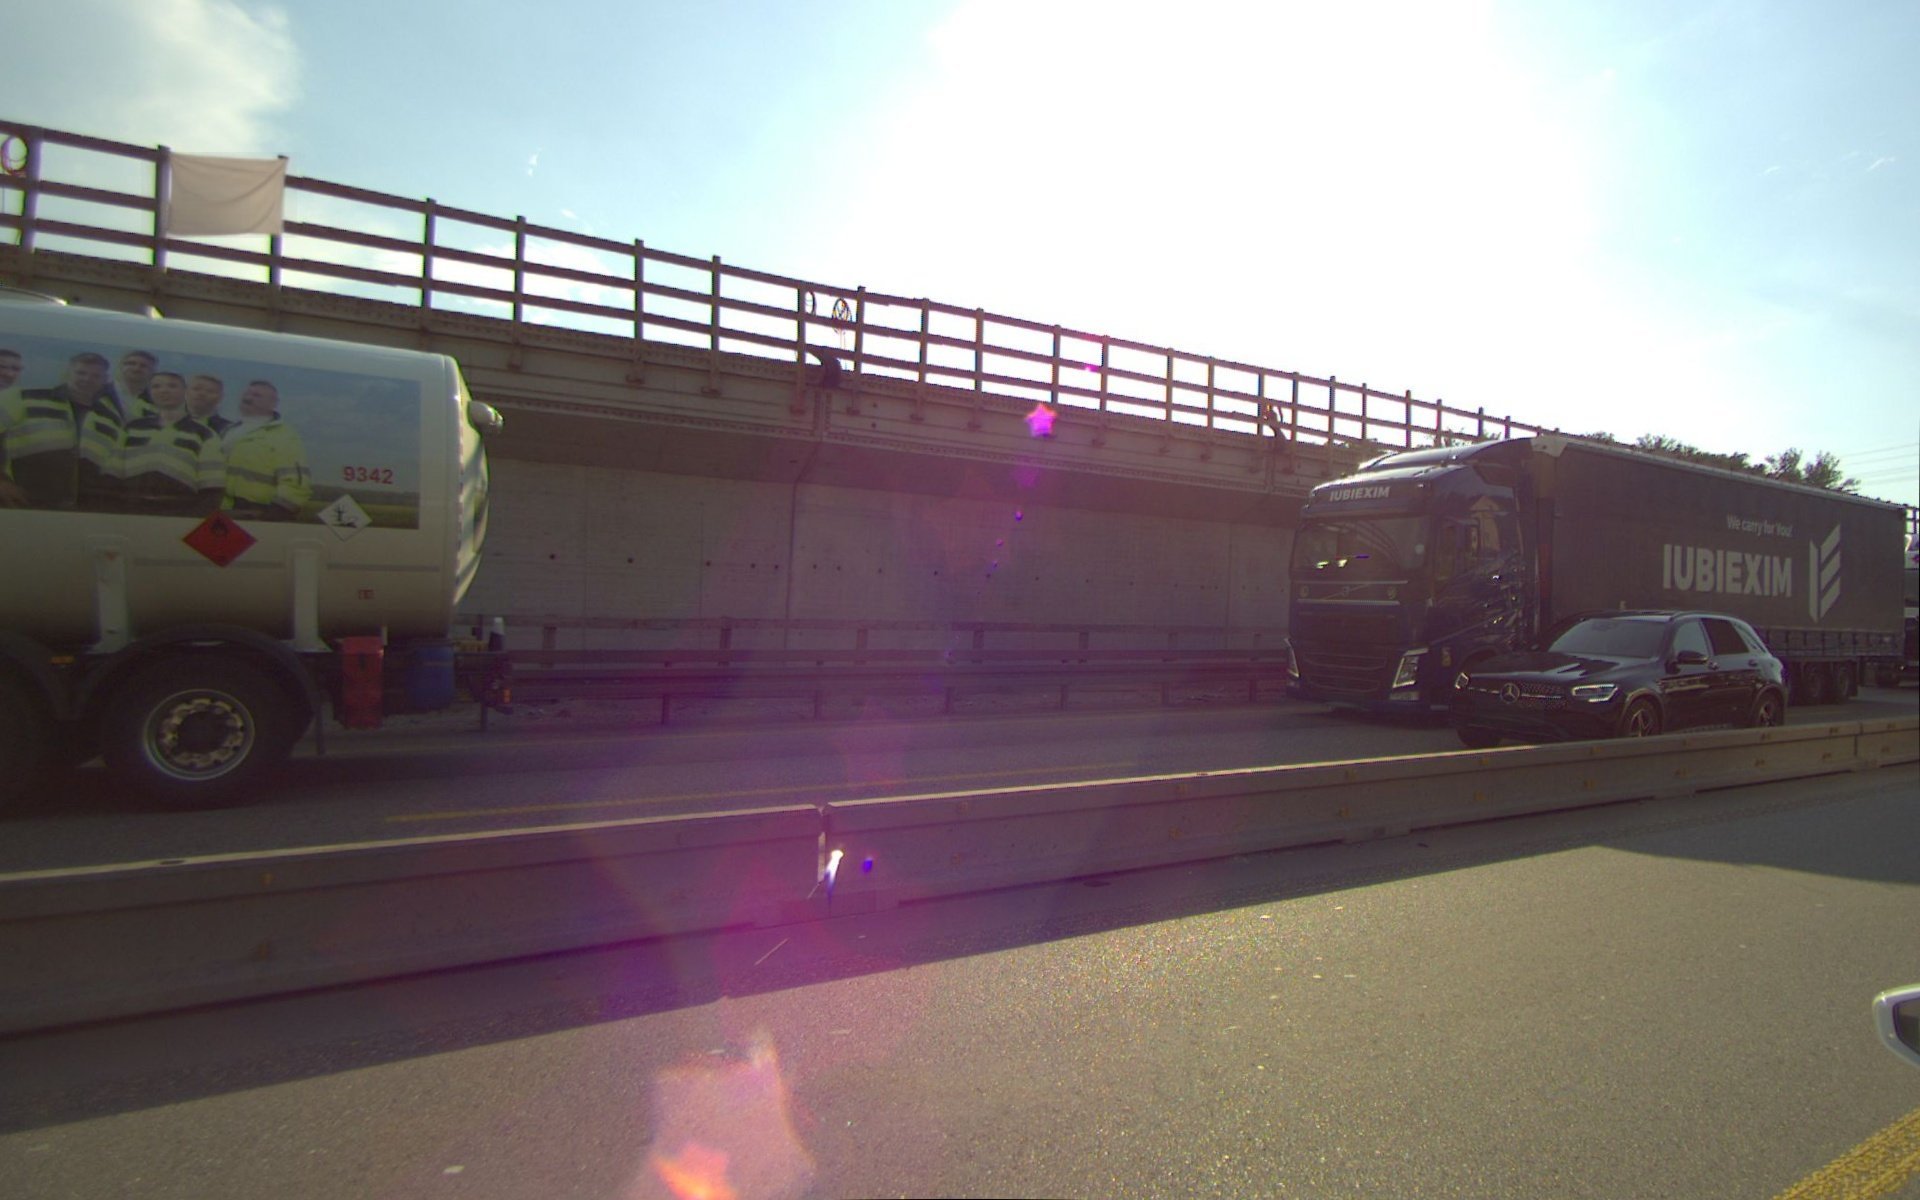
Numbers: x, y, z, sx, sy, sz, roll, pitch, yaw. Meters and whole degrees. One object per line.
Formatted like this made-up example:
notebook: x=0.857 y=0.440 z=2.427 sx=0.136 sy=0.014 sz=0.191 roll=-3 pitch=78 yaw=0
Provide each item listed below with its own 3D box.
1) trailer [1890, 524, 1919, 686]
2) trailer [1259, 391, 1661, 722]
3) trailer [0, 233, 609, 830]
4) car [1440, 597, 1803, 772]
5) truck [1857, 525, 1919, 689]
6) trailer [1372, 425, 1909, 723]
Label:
trailer: x=31.817 y=0.403 z=29.525 sx=13.613 sy=4.296 sz=2.898 roll=3 pitch=-1 yaw=-31
trailer: x=7.769 y=-0.518 z=15.477 sx=5.907 sy=4.197 sz=2.751 roll=1 pitch=0 yaw=-31
trailer: x=-7.955 y=-0.488 z=6.214 sx=10.557 sy=3.573 sz=2.544 roll=3 pitch=-1 yaw=-30
car: x=7.682 y=0.898 z=11.530 sx=4.636 sy=1.666 sz=1.632 roll=3 pitch=-1 yaw=-31
truck: x=26.369 y=0.277 z=26.201 sx=5.594 sy=4.061 sz=2.846 roll=2 pitch=0 yaw=-31
trailer: x=13.437 y=-0.264 z=18.901 sx=13.863 sy=4.197 sz=2.750 roll=1 pitch=0 yaw=-31
